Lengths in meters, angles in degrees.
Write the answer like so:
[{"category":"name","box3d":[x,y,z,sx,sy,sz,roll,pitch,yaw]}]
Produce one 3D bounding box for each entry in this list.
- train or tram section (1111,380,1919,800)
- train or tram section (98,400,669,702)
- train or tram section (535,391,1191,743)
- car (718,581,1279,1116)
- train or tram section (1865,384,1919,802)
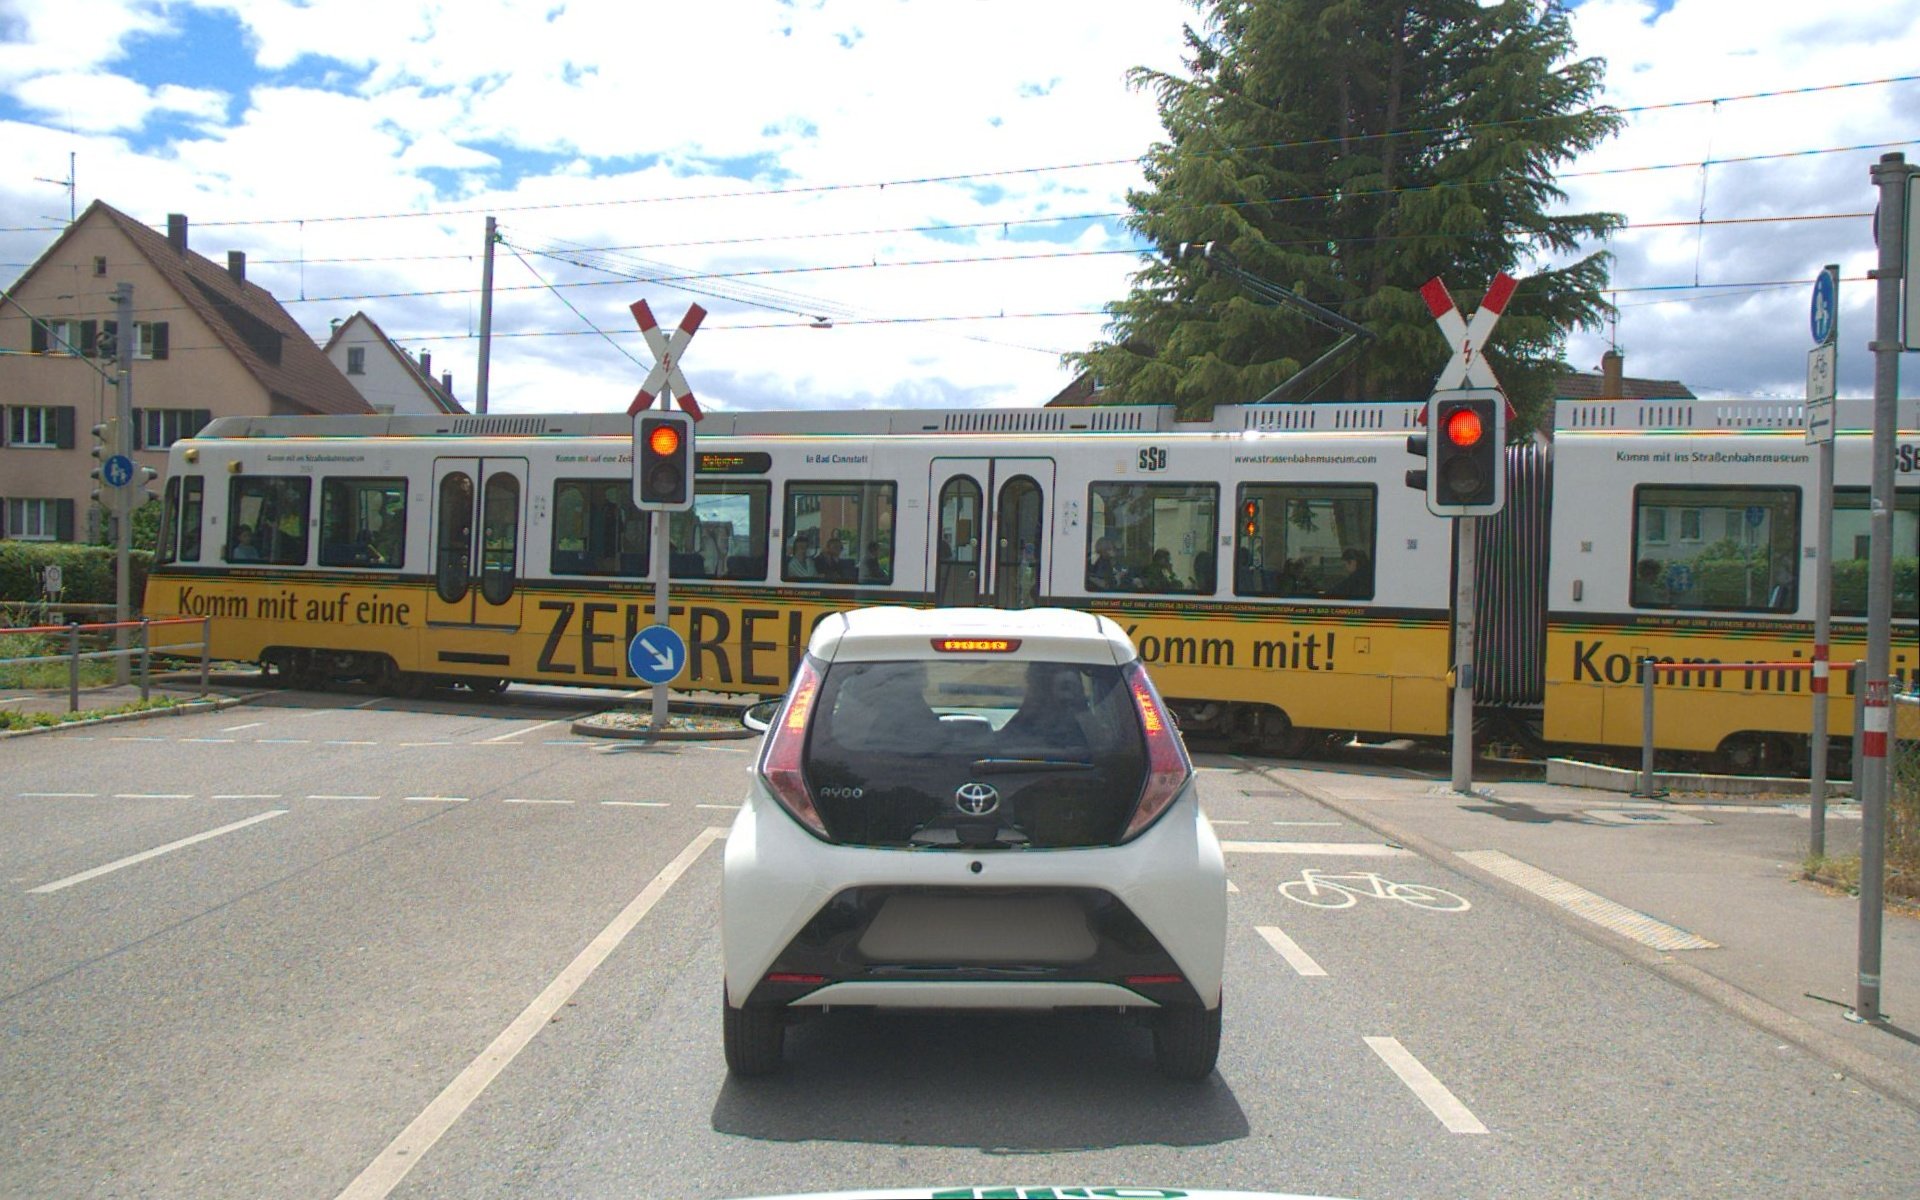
[{"category":"train or tram section","box3d":[5.701,-0.212,17.678,7.535,3.786,2.869,2,0,22]},{"category":"train or tram section","box3d":[-8.178,-0.736,23.427,7.535,3.786,2.869,2,0,22]},{"category":"train or tram section","box3d":[-1.225,-0.478,20.542,7.535,3.786,2.869,2,0,22]},{"category":"car","box3d":[0.086,0.720,6.719,1.588,1.512,3.999,1,0,-1]},{"category":"train or tram section","box3d":[12.636,0.072,14.824,7.535,3.786,2.869,2,0,22]}]
